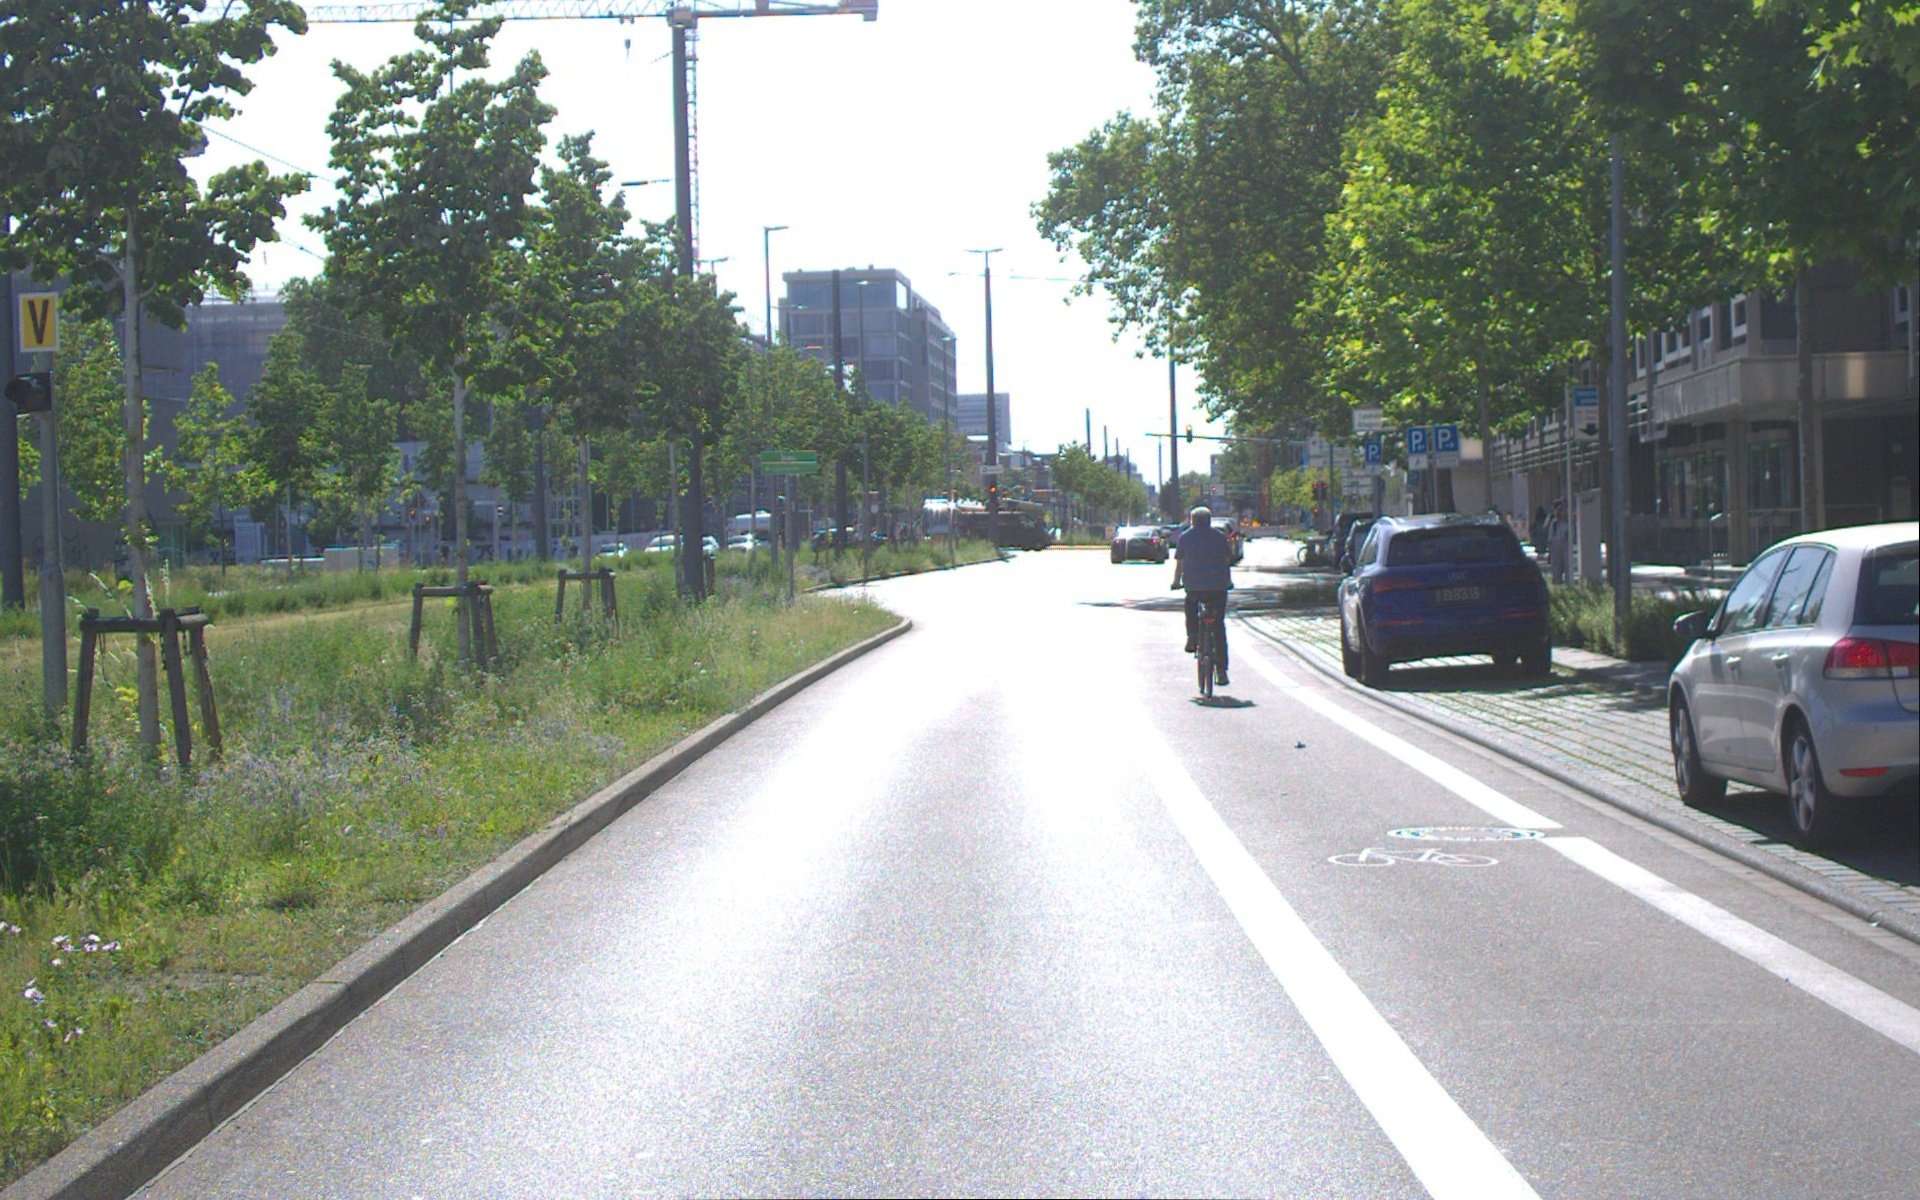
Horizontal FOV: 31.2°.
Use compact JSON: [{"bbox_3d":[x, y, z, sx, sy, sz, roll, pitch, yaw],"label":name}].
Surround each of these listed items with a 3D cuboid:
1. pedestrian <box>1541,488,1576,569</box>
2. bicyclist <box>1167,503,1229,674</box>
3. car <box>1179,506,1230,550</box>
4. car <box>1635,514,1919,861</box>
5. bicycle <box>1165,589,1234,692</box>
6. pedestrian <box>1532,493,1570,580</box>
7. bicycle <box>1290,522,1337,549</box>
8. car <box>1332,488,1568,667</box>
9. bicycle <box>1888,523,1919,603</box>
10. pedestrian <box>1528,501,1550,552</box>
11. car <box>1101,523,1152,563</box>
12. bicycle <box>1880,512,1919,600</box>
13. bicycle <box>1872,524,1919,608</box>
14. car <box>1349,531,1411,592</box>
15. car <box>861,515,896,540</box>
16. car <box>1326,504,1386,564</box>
[{"bbox_3d":[11.064,-1.330,63.563,0.511,1.469,0.736,-3,1,4],"label":"pedestrian"},{"bbox_3d":[2.249,-0.114,32.500,0.512,1.595,0.536,-1,1,0],"label":"bicyclist"},{"bbox_3d":[9.392,-2.790,131.869,1.722,1.612,4.185,-1,2,6],"label":"car"},{"bbox_3d":[4.647,0.335,17.279,1.618,1.460,4.156,-3,1,0],"label":"car"},{"bbox_3d":[2.260,0.367,32.569,0.497,0.902,2.197,0,1,0],"label":"bicycle"},{"bbox_3d":[11.969,-1.290,69.634,0.647,1.722,0.803,-1,1,4],"label":"pedestrian"},{"bbox_3d":[13.482,-2.462,131.056,1.693,0.954,0.478,-3,1,1],"label":"bicycle"},{"bbox_3d":[5.008,-0.281,35.739,1.849,1.651,4.848,-3,1,2],"label":"car"},{"bbox_3d":[12.158,-0.486,41.314,1.858,0.935,0.426,-3,1,6],"label":"bicycle"},{"bbox_3d":[17.936,-2.288,106.516,0.505,1.579,0.635,-1,2,-4],"label":"pedestrian"},{"bbox_3d":[6.605,-2.255,135.858,1.912,1.481,4.009,-1,2,4],"label":"car"},{"bbox_3d":[12.774,-0.602,43.947,1.858,1.094,0.426,-3,1,6],"label":"bicycle"},{"bbox_3d":[12.343,-0.466,42.714,1.858,1.007,0.426,-3,1,6],"label":"bicycle"},{"bbox_3d":[12.139,-1.132,99.398,1.704,1.637,4.635,-1,2,7],"label":"car"},{"bbox_3d":[-3.978,-3.520,168.125,1.376,1.174,3.220,1,1,4],"label":"car"},{"bbox_3d":[12.666,-2.123,110.158,1.704,1.783,4.192,-3,1,5],"label":"car"}]
